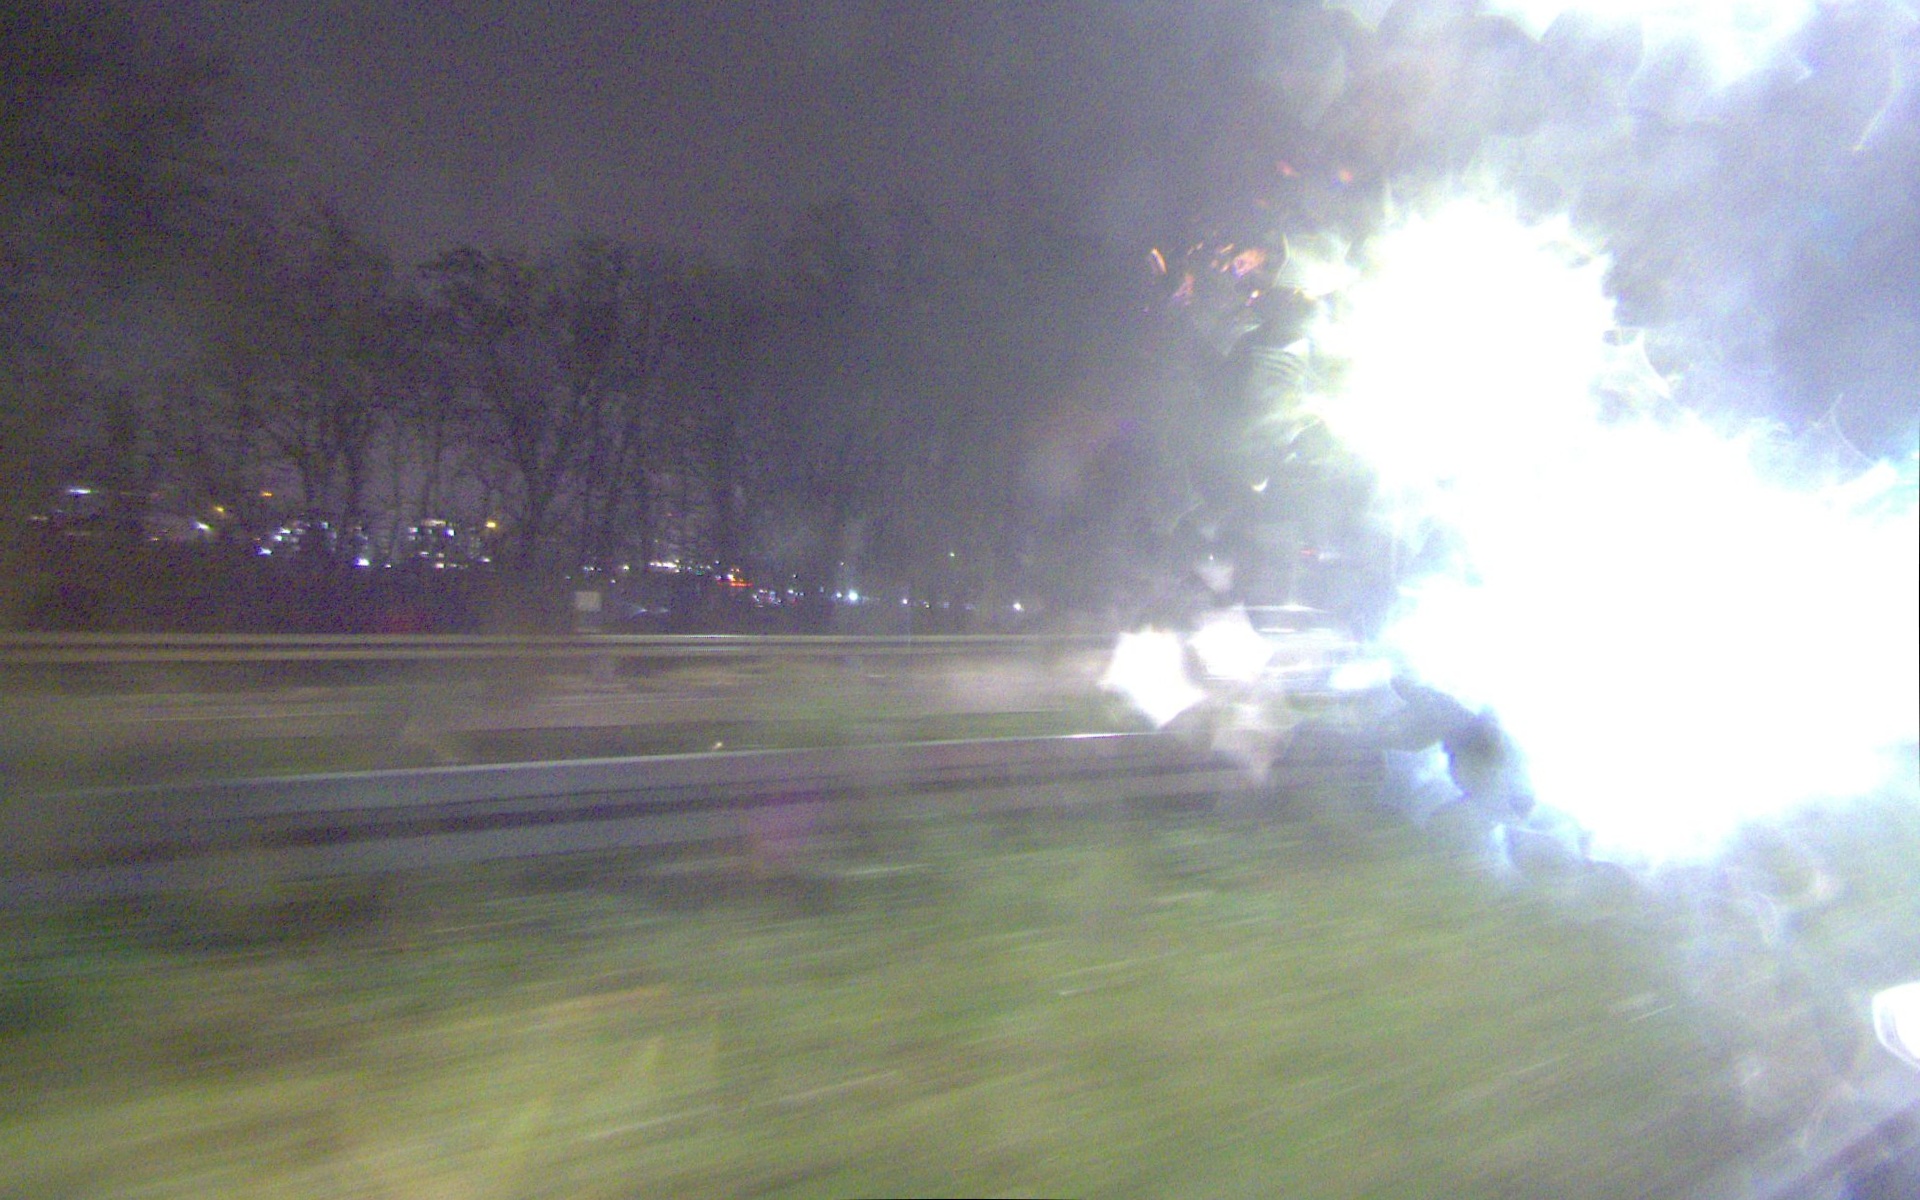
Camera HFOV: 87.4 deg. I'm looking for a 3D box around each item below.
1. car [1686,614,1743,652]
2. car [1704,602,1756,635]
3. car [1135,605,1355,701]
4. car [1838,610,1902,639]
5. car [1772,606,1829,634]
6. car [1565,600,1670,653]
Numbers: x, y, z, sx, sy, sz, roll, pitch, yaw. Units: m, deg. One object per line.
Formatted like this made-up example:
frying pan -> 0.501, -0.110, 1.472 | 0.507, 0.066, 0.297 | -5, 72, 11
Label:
car -> 31.120, 1.359, 41.376 | 1.768, 1.476, 4.558 | 0, -2, 38
car -> 38.812, 0.944, 50.572 | 1.759, 1.480, 4.455 | 5, 2, 41
car -> 5.087, 0.907, 17.716 | 3.903, 1.515, 1.722 | 2, -2, -36
car -> 55.864, 1.471, 61.745 | 1.788, 1.639, 3.995 | 3, 1, 26
car -> 59.589, 1.401, 71.280 | 2.057, 1.665, 3.726 | 6, 3, 25
car -> 19.556, 0.759, 29.793 | 1.771, 1.476, 4.548 | -1, -1, 45
